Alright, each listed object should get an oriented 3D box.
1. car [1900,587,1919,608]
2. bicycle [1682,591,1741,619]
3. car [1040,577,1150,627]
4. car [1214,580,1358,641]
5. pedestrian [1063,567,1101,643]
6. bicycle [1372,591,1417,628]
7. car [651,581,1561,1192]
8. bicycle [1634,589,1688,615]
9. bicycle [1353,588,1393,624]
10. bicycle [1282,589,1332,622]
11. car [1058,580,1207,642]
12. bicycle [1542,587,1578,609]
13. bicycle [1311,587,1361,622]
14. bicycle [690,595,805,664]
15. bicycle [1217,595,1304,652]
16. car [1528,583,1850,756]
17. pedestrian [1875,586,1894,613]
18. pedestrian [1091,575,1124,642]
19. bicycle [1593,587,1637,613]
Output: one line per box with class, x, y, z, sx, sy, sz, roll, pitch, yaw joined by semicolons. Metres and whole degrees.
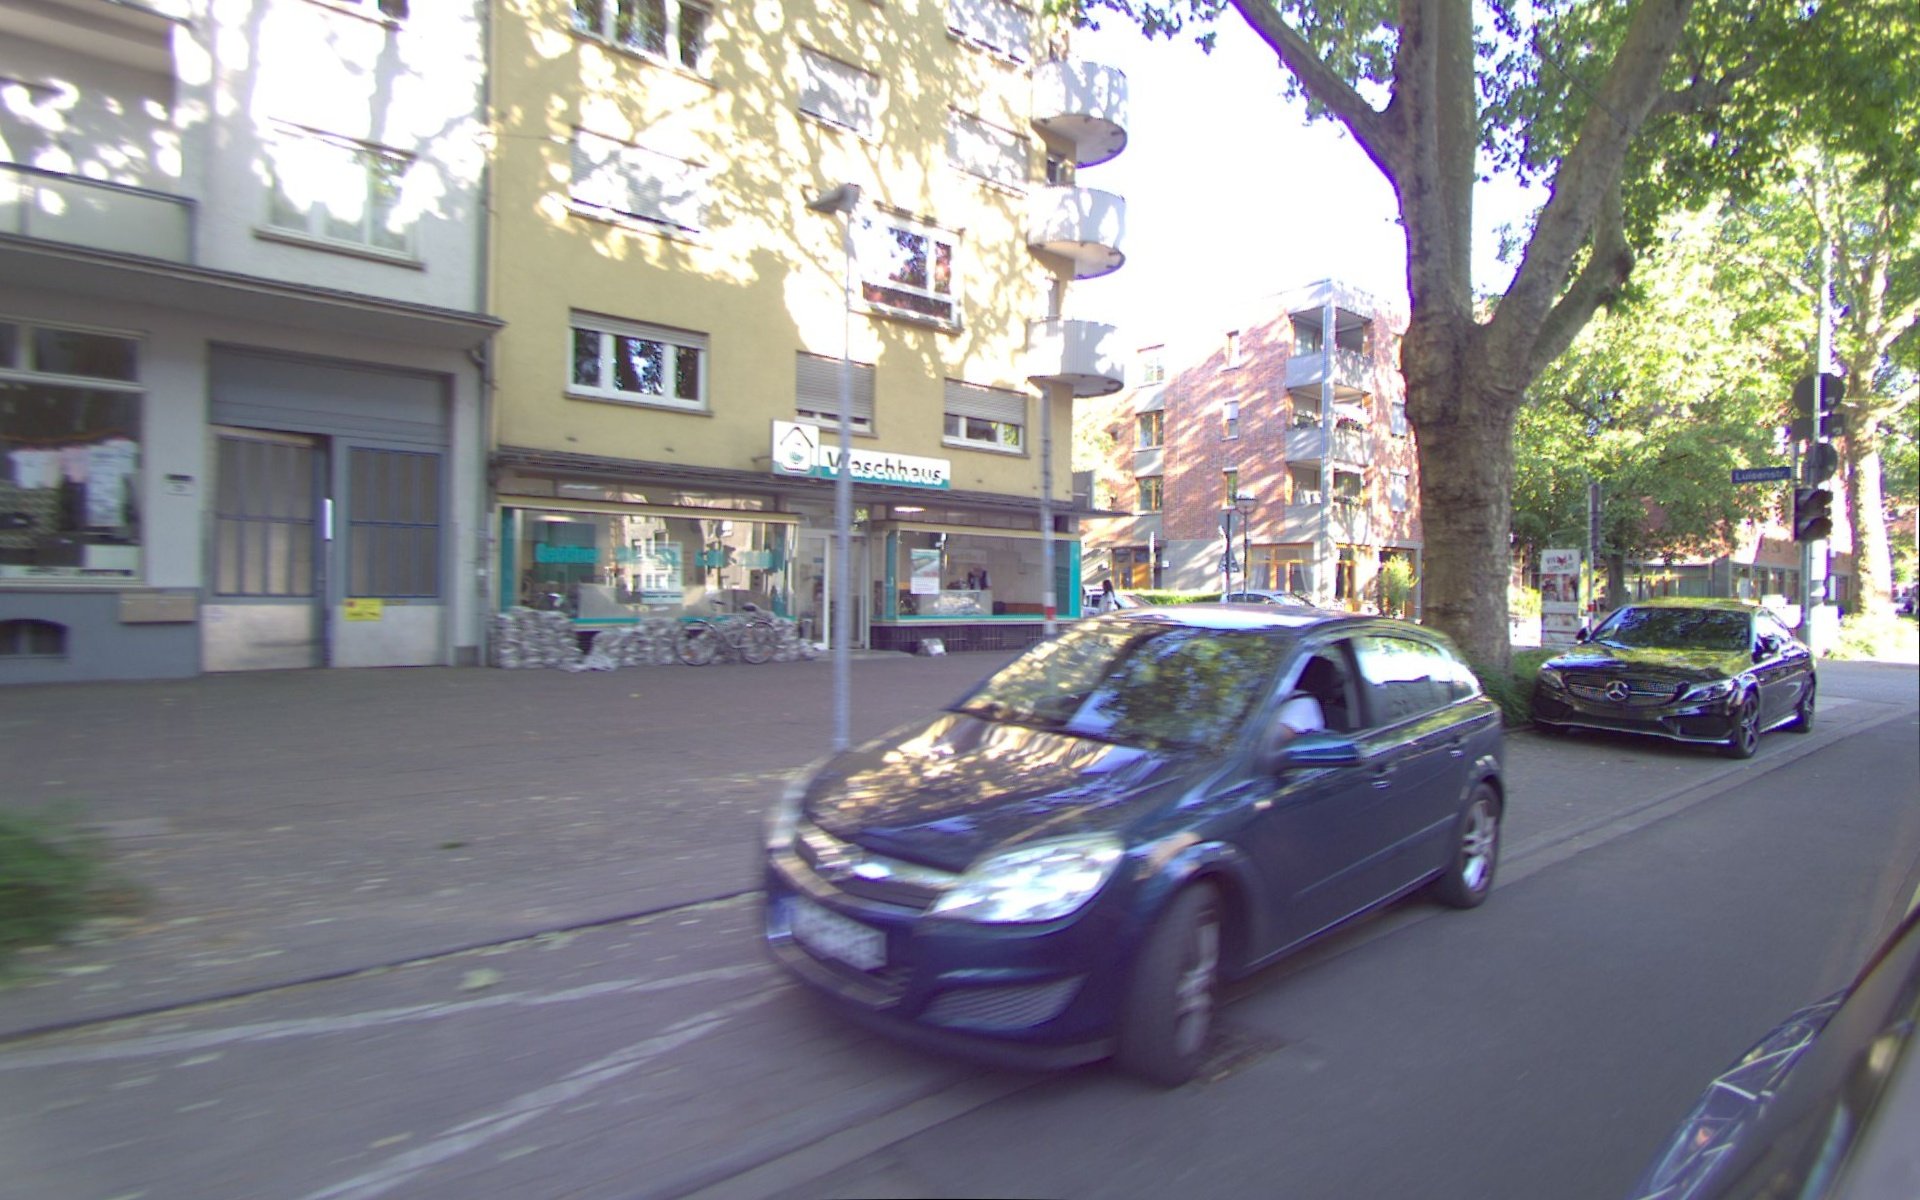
car;73.187;-0.176;77.205;3.890;1.527;1.657;0;1;-39
bicycle;34.168;0.213;46.034;0.562;1.171;2.037;0;3;-38
car;4.950;0.022;37.514;1.832;1.714;3.871;0;1;-39
car;10.034;0.265;31.372;1.832;1.714;3.871;0;1;-39
pedestrian;2.818;0.109;23.312;0.695;1.703;0.656;1;1;24
bicycle;14.401;0.299;33.535;1.666;1.171;0.602;0;2;-36
car;0.978;0.677;4.572;4.155;1.455;1.867;0;2;-43
bicycle;33.419;0.080;48.264;0.561;1.171;2.039;0;3;-33
bicycle;14.195;0.183;34.788;1.669;1.171;0.600;-1;3;-44
bicycle;12.616;0.186;36.782;2.014;1.171;0.732;0;3;-39
car;4.819;0.279;28.647;1.832;1.572;3.871;3;-1;-39
bicycle;31.753;-0.106;53.595;1.997;1.171;0.709;0;2;-30
bicycle;13.243;0.148;35.620;1.945;1.171;0.638;0;2;-37
bicycle;-3.364;0.436;16.110;1.751;1.009;0.571;-1;3;-44
bicycle;6.856;0.515;23.106;1.782;1.171;0.738;3;2;30
car;8.102;0.577;11.038;4.924;1.480;1.768;0;1;-41
pedestrian;59.199;-0.040;64.821;0.900;1.680;0.768;0;1;-39
pedestrian;3.489;0.186;23.967;0.678;1.558;0.703;1;1;2
bicycle;32.235;0.000;49.837;0.561;1.171;1.684;0;2;-33
